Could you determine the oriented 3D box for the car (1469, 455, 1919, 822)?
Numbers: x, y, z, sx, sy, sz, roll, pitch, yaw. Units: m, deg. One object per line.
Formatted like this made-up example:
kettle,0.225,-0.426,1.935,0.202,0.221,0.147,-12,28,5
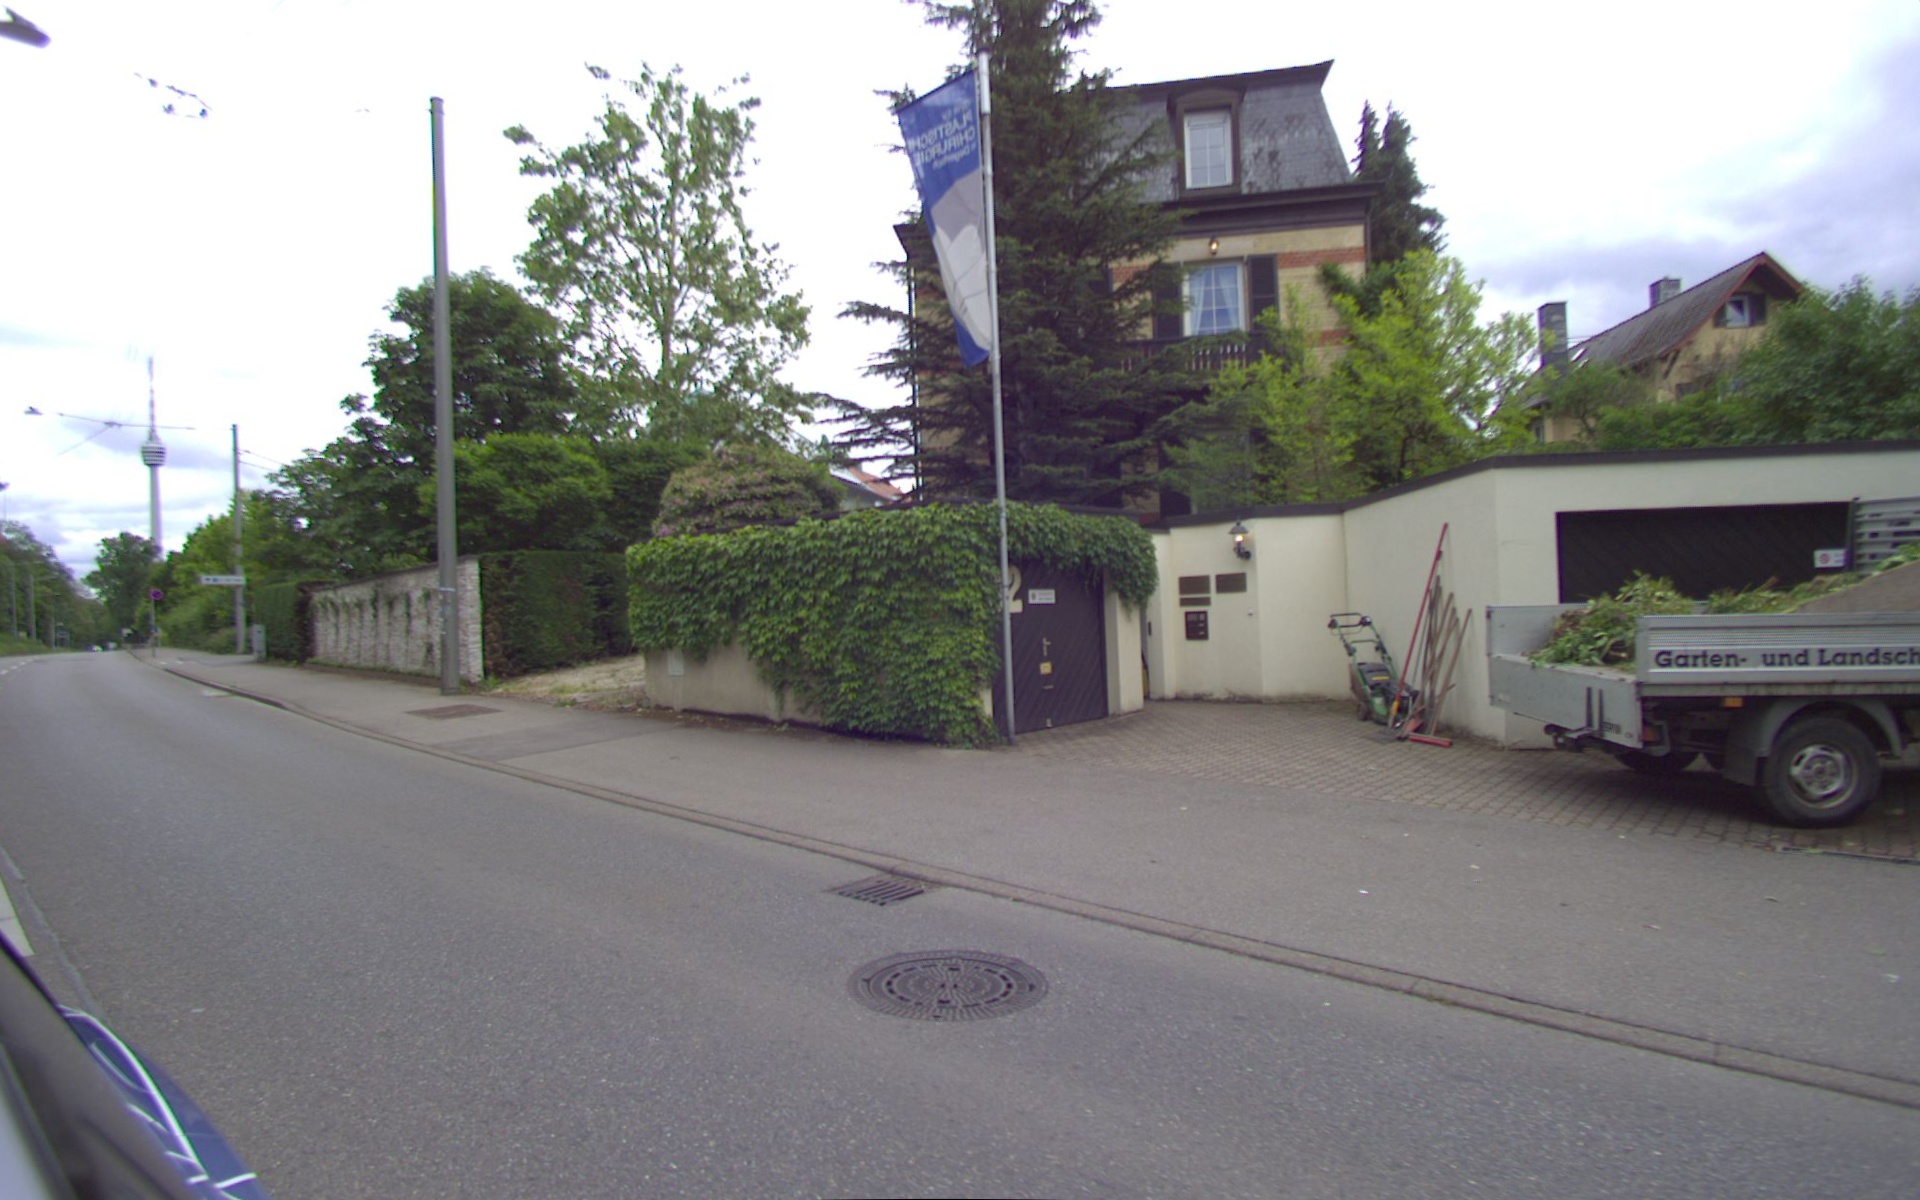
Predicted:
car,6.743,0.185,6.837,5.296,2.088,2.421,-2,0,7
